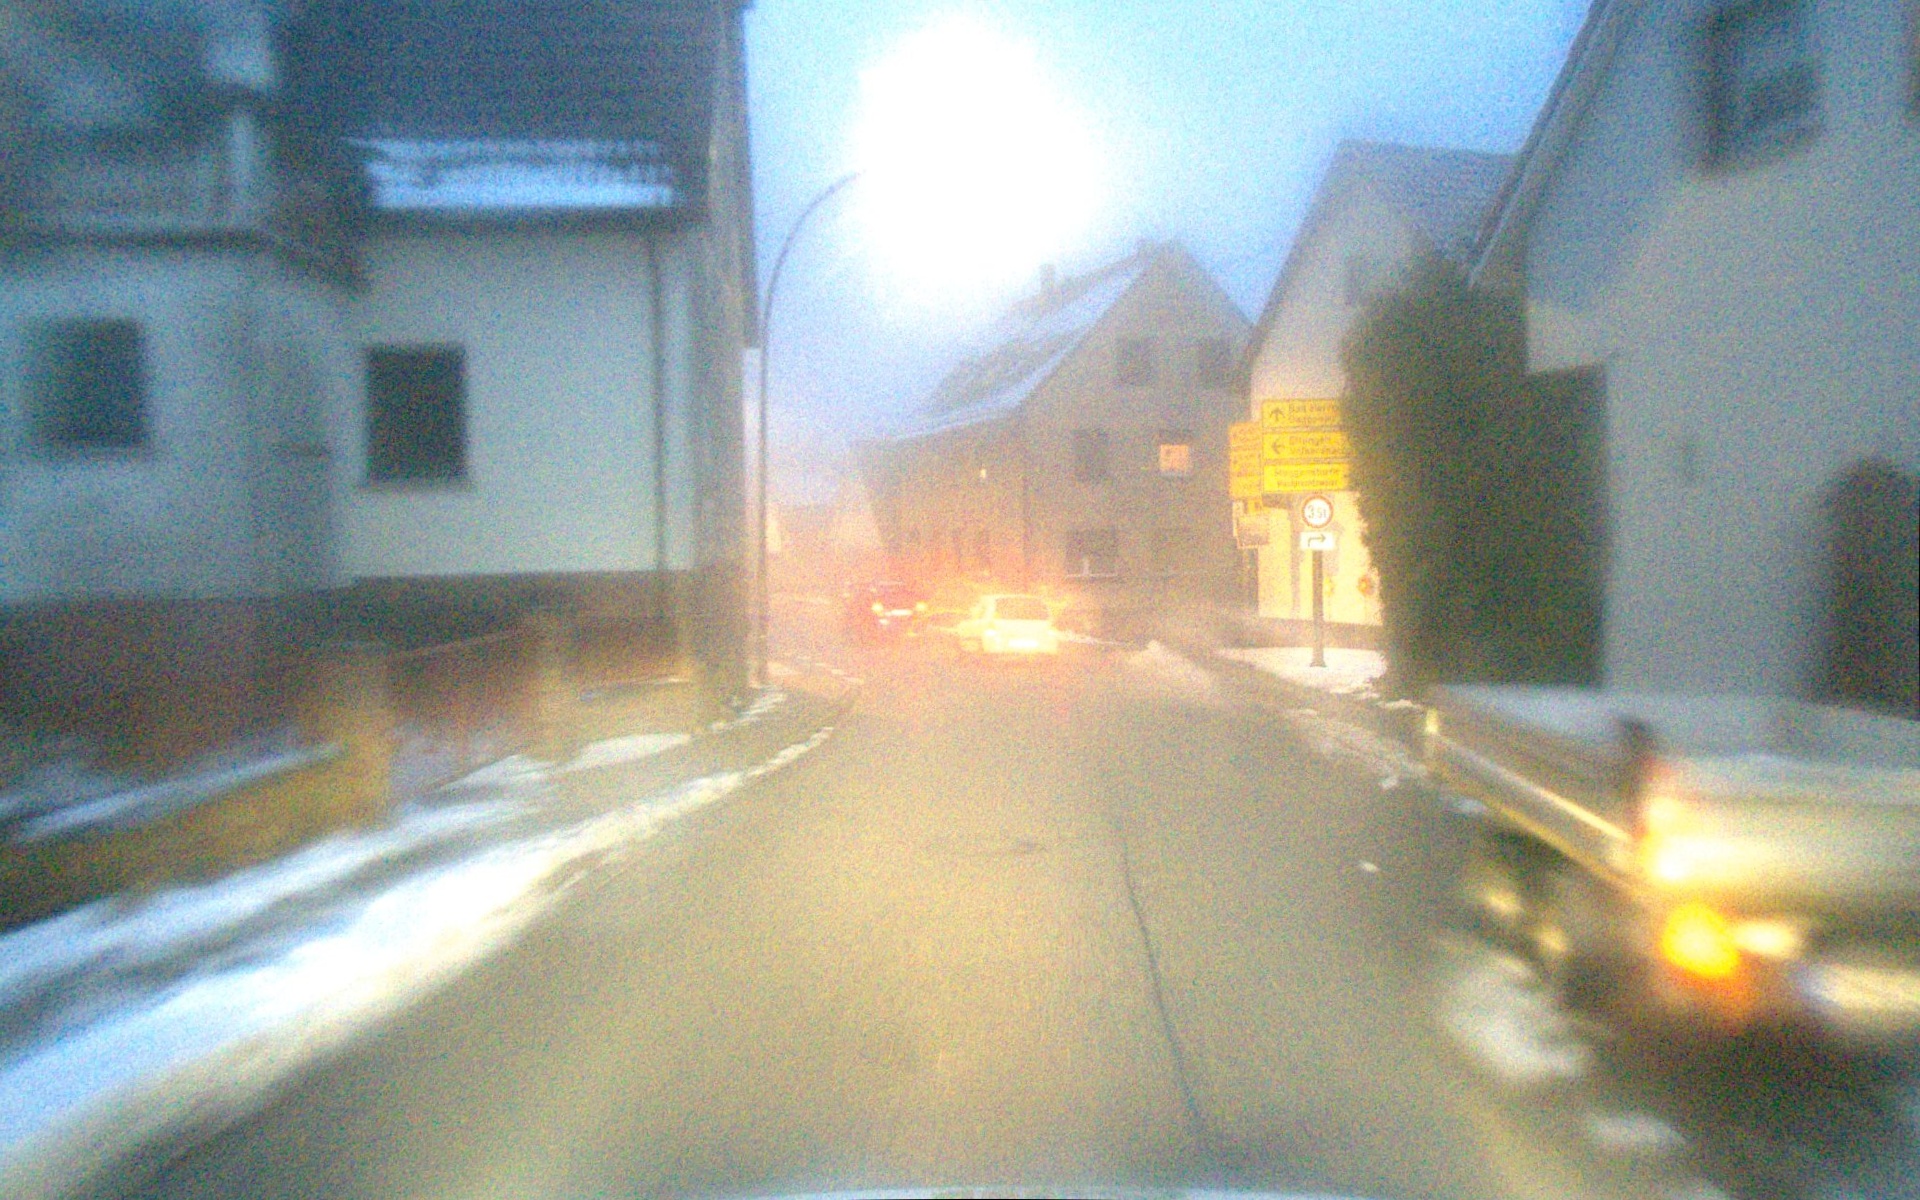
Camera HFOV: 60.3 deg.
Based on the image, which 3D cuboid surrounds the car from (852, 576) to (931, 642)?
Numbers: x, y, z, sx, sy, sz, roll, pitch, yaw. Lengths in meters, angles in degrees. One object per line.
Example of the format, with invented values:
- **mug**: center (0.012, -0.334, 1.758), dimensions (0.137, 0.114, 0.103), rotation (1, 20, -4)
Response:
- **car**: center (-1.999, 0.267, 47.207), dimensions (1.955, 1.758, 3.994), rotation (1, -1, -7)

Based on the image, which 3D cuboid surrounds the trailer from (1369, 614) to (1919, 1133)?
- **trailer**: center (3.121, 0.820, 7.126), dimensions (1.951, 1.412, 4.734), rotation (1, 0, 5)

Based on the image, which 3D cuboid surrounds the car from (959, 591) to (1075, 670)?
- **car**: center (1.124, 0.626, 34.573), dimensions (1.954, 1.534, 3.996), rotation (1, -1, -5)
